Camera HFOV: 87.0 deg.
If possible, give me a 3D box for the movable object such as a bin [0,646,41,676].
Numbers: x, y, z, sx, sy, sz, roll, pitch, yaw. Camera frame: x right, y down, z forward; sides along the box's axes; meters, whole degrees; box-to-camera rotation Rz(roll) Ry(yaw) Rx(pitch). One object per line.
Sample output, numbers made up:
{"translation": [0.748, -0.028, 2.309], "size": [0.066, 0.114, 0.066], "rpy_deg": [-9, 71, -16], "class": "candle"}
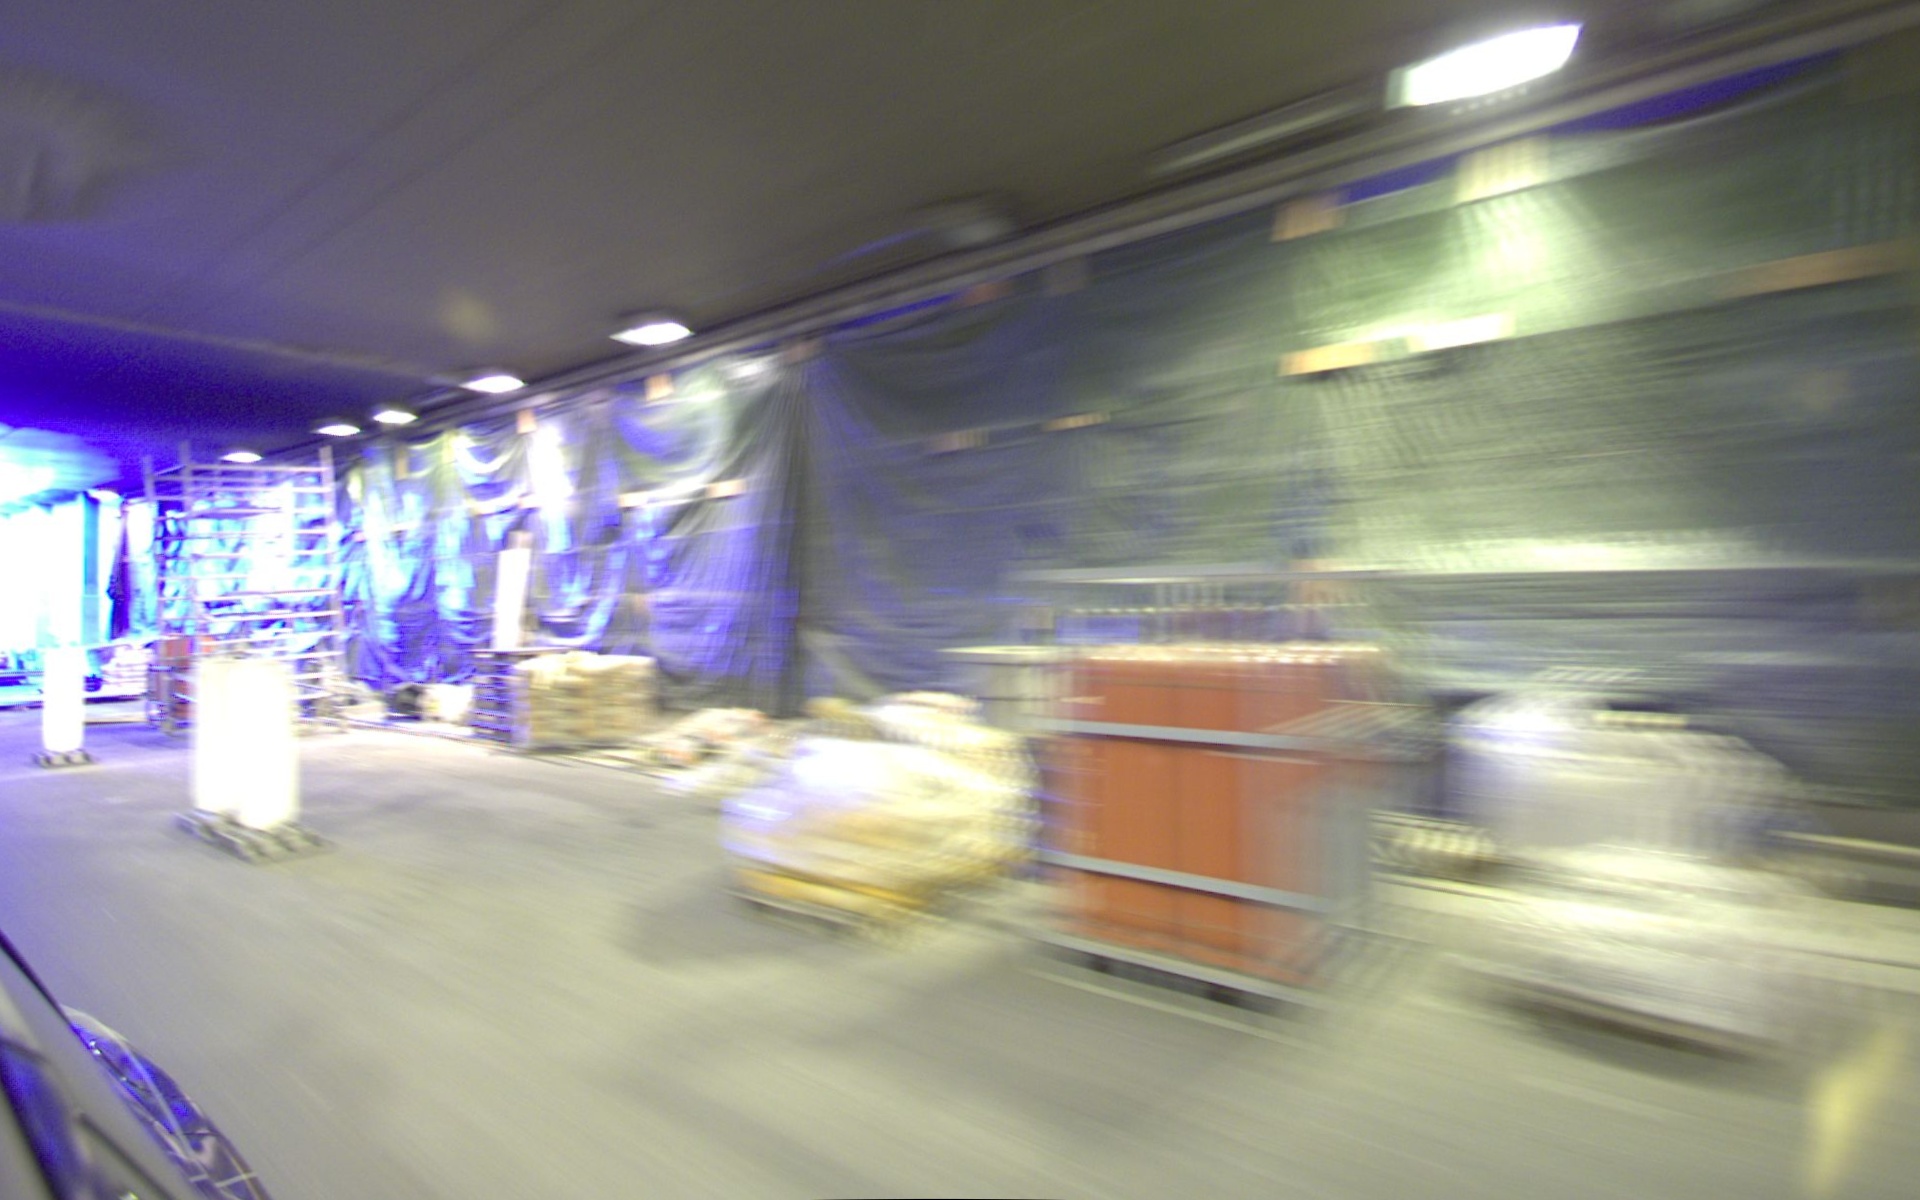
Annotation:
{"translation": [-26.094, 1.681, 28.087], "size": [1.029, 0.747, 0.646], "rpy_deg": [1, 0, 33], "class": "movable object such as a bin"}
